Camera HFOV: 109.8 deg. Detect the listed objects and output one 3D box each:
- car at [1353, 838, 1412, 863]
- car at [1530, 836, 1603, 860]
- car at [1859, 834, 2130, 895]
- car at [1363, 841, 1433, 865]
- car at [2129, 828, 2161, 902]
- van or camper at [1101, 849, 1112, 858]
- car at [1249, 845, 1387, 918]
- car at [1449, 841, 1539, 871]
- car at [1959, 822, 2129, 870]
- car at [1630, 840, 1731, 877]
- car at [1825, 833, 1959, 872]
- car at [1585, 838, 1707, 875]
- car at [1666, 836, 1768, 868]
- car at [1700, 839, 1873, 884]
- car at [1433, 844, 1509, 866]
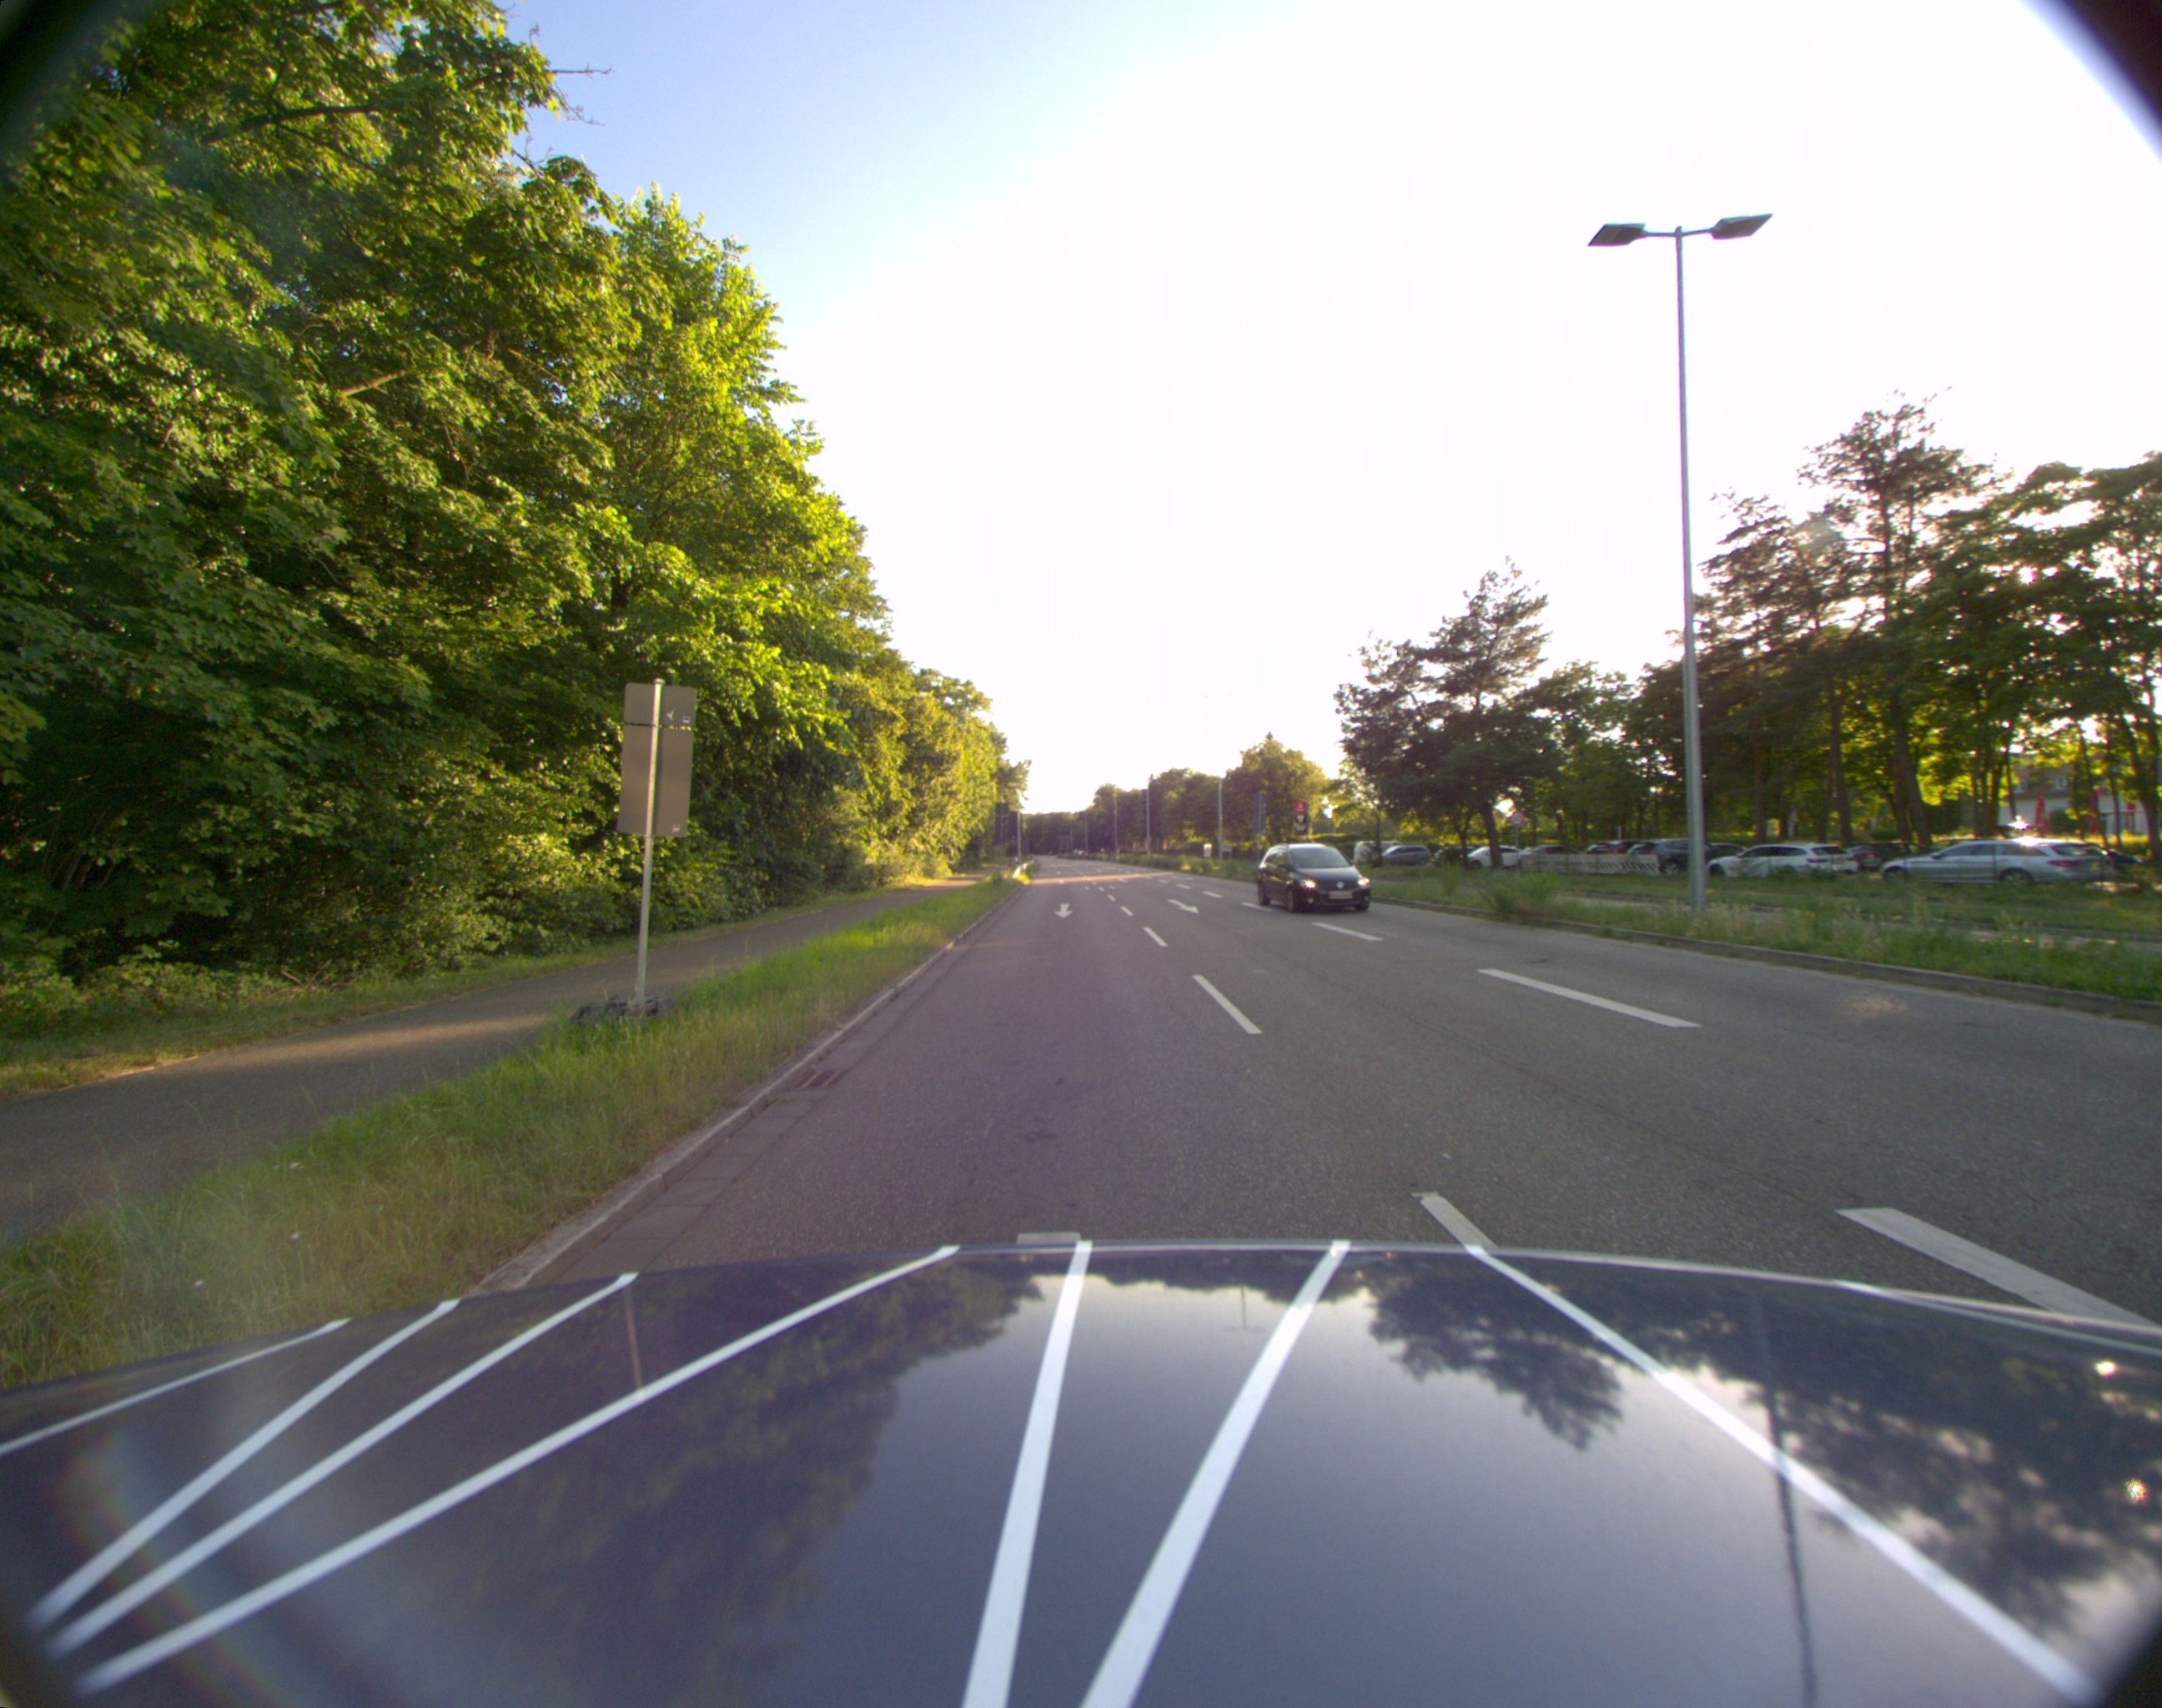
[{"bbox_3d":[24.214,-0.253,61.068,3.998,1.933,1.766,-1,1,-2],"label":"car"},{"bbox_3d":[34.125,-0.401,53.482,3.997,1.641,1.766,-1,1,-1],"label":"car"},{"bbox_3d":[26.779,0.247,22.627,1.999,1.597,4.920,-1,1,-4],"label":"car"},{"bbox_3d":[24.170,-0.099,58.029,4.498,1.787,1.909,-1,1,-2],"label":"car"},{"bbox_3d":[27.111,0.260,16.419,1.999,1.776,4.920,-1,1,-4],"label":"car"},{"bbox_3d":[5.598,-0.175,168.716,1.999,2.002,4.575,-1,0,-5],"label":"van or camper"},{"bbox_3d":[5.564,0.585,18.419,1.999,1.543,3.999,-1,0,-2],"label":"car"},{"bbox_3d":[25.173,0.130,46.405,4.497,1.743,1.909,-1,1,-1],"label":"car"},{"bbox_3d":[34.985,-0.285,27.690,3.997,1.641,1.766,-1,1,-1],"label":"car"},{"bbox_3d":[25.822,0.164,32.799,3.099,1.518,1.659,-1,1,-2],"label":"car"},{"bbox_3d":[35.424,-0.072,33.246,3.997,1.641,1.766,-1,1,-1],"label":"car"},{"bbox_3d":[26.539,0.109,35.781,4.525,1.608,1.771,-1,1,-3],"label":"car"},{"bbox_3d":[34.084,-0.120,40.801,3.997,1.641,1.766,-1,1,-1],"label":"car"},{"bbox_3d":[26.424,0.258,28.735,1.999,1.539,4.708,-1,1,-4],"label":"car"},{"bbox_3d":[24.913,0.062,48.655,3.997,1.304,1.732,-1,1,-1],"label":"car"}]
